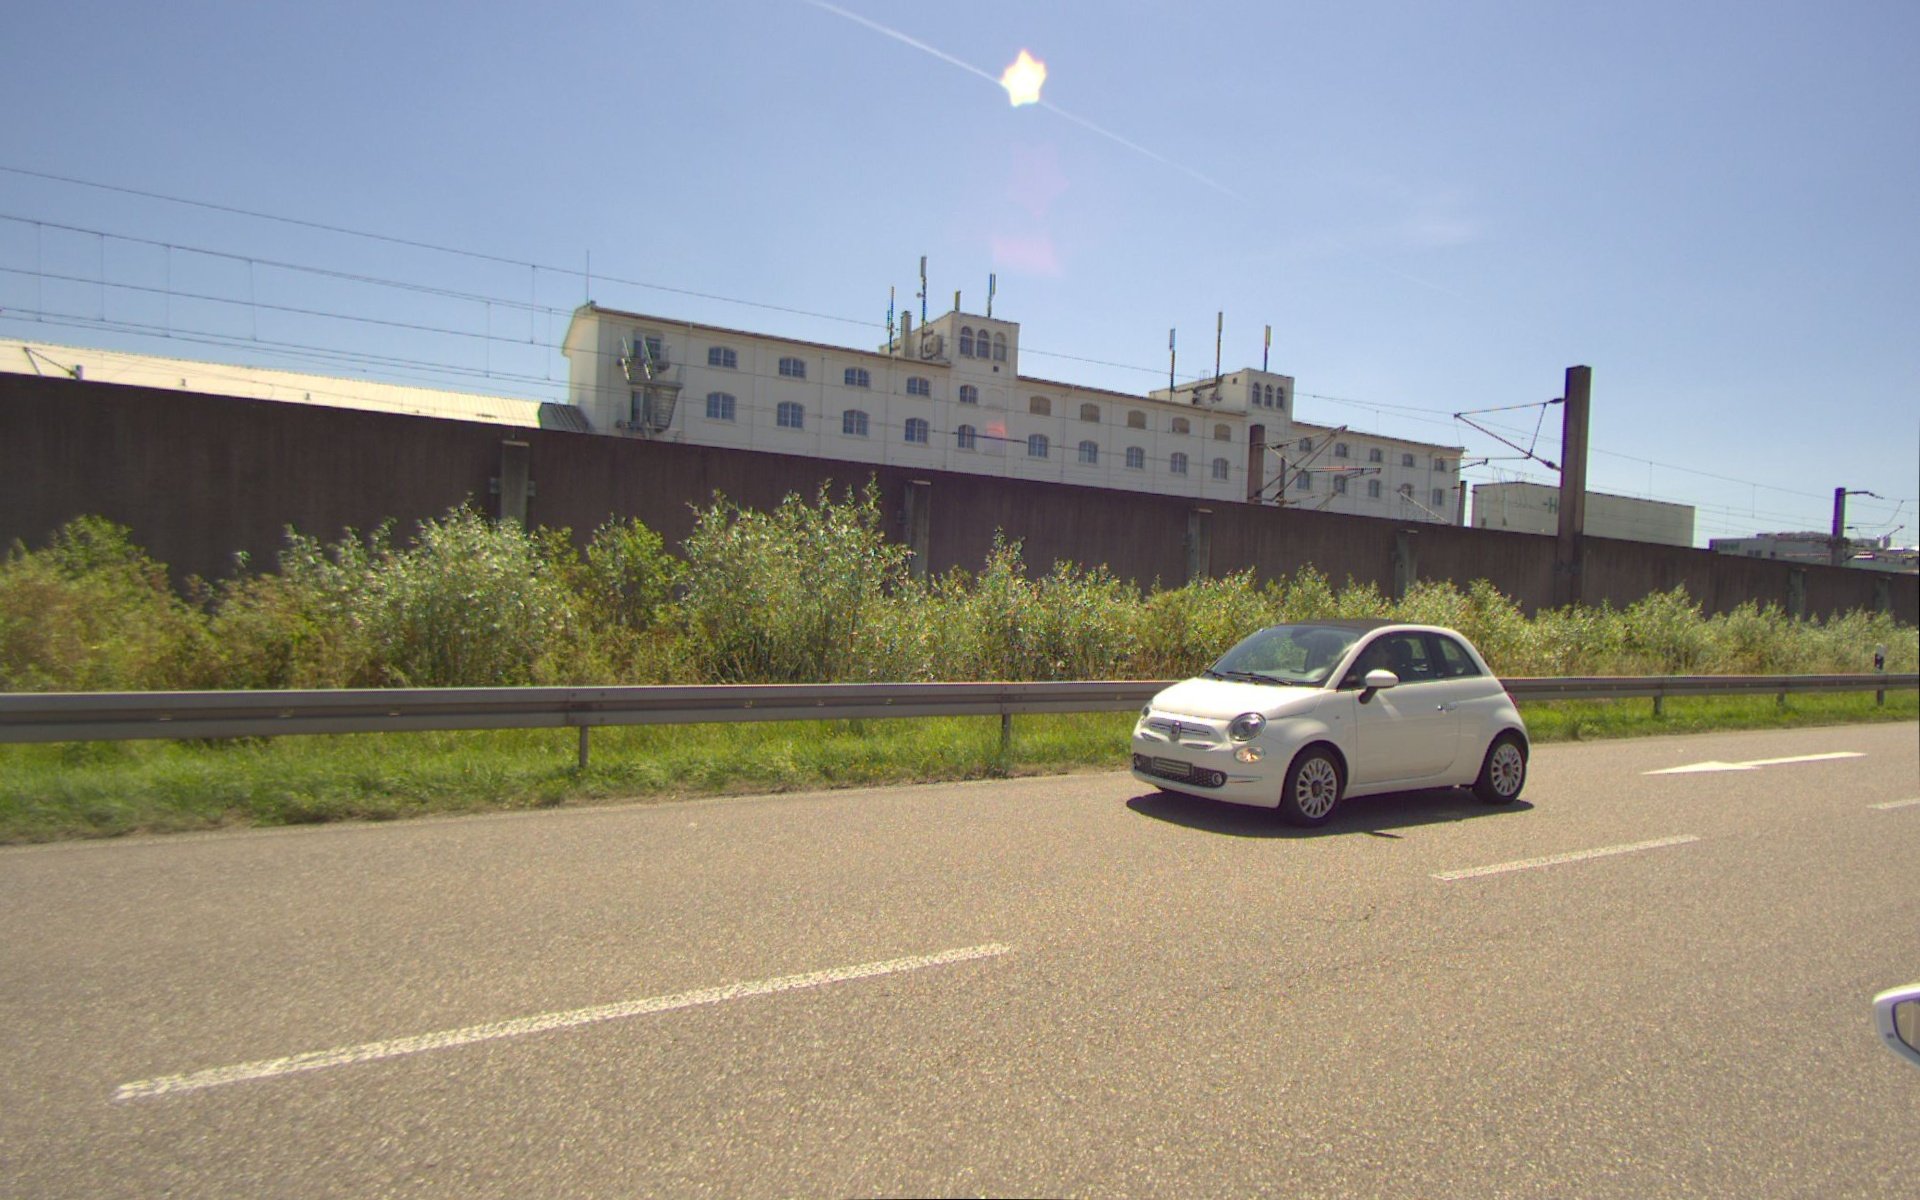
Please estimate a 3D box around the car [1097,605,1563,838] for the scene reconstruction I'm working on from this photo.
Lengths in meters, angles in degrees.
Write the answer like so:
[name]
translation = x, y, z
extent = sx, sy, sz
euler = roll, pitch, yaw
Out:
[car]
translation = 3.119, 0.865, 8.325
extent = 3.678, 1.522, 1.664
euler = 2, 0, -30
